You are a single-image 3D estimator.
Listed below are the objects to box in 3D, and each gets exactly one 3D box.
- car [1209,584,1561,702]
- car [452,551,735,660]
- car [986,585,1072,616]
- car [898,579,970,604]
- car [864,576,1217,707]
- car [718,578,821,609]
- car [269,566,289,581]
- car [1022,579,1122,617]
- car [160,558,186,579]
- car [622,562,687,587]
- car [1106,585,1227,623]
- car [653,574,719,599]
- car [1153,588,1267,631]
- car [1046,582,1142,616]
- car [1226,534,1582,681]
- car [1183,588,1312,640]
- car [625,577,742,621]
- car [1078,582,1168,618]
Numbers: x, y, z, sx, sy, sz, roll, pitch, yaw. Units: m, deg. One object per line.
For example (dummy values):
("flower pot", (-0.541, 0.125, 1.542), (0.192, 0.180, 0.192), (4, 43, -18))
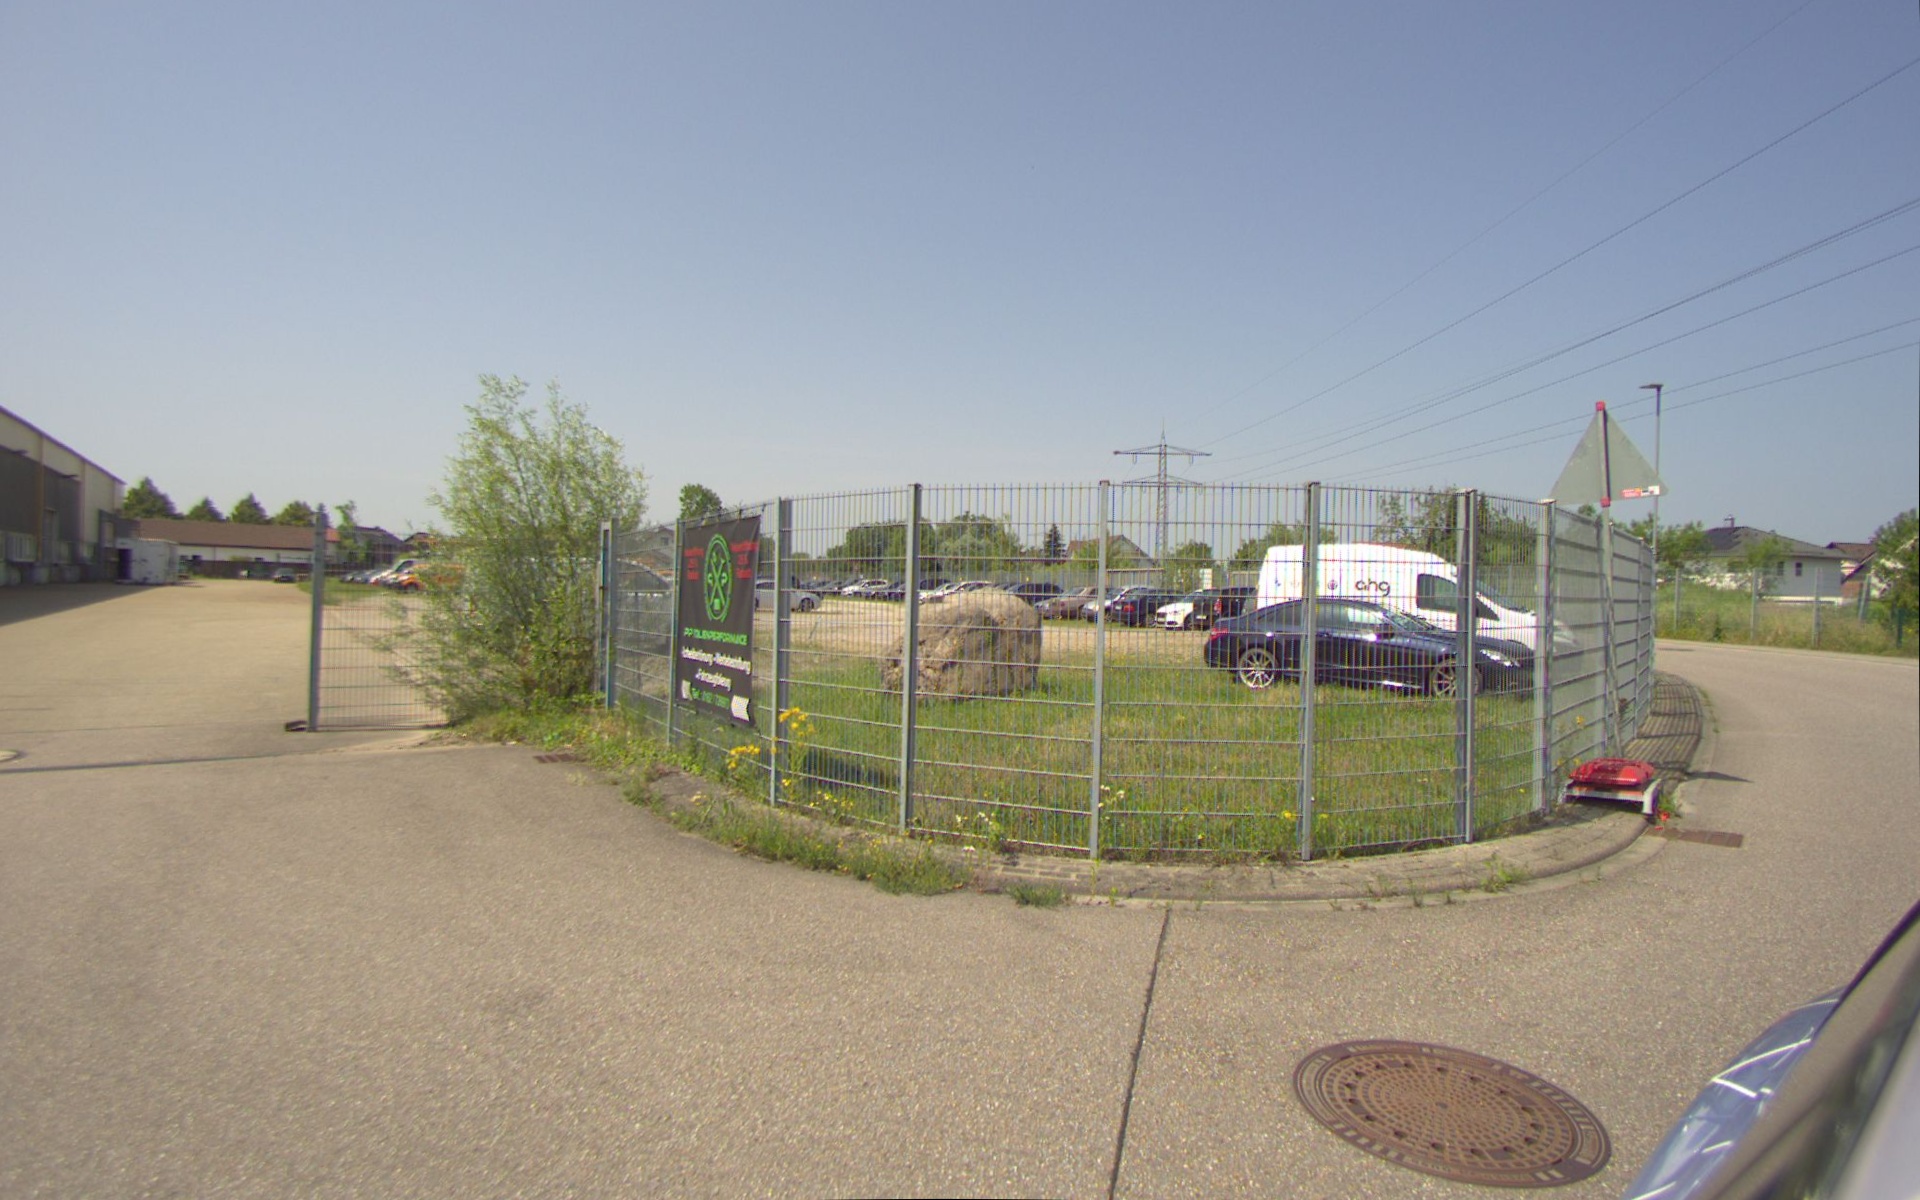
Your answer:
("car", (6.106, 0.509, 14.801), (4.412, 1.377, 1.881), (2, 2, 38))
("car", (-7.116, 0.051, 19.816), (4.975, 1.923, 1.860), (0, 2, -30))
("car", (3.519, 0.000, 51.678), (4.090, 1.354, 1.642), (-2, 2, -19))
("car", (-1.614, -0.547, 61.941), (4.090, 1.354, 1.642), (-2, 2, -19))
("car", (0.928, 0.397, 12.405), (3.903, 1.293, 1.883), (2, 2, 35))
("car", (-8.898, -0.313, 47.447), (4.433, 1.368, 1.629), (0, 1, -30))
("car", (-65.901, -2.569, 97.910), (1.576, 1.349, 3.841), (1, 1, -34))
("car", (4.949, -0.095, 44.853), (4.090, 1.492, 1.642), (-2, 2, -19))
("car", (-75.724, -3.037, 97.376), (1.899, 1.904, 4.066), (1, 1, -37))
("car", (-19.970, -1.628, 66.204), (3.753, 1.480, 1.590), (1, 0, -31))
("car", (7.741, 0.144, 37.950), (4.108, 1.371, 1.727), (0, 1, -18))
("car", (-17.459, -0.837, 64.504), (3.753, 1.480, 1.590), (1, 0, -31))
("car", (8.693, 0.319, 35.226), (3.460, 1.406, 1.640), (1, 1, -17))
("car", (5.668, -0.047, 42.869), (3.597, 1.371, 1.744), (0, 1, -16))
("car", (7.462, 0.020, 17.315), (5.308, 2.176, 1.883), (2, 1, 35))
("car", (9.281, 0.445, 32.743), (3.583, 1.495, 1.757), (1, 3, -18))
("car", (-9.573, -0.044, 35.141), (3.596, 1.453, 1.537), (0, 1, -34))
("car", (6.487, -0.006, 40.349), (3.209, 1.371, 1.531), (0, 1, -19))
